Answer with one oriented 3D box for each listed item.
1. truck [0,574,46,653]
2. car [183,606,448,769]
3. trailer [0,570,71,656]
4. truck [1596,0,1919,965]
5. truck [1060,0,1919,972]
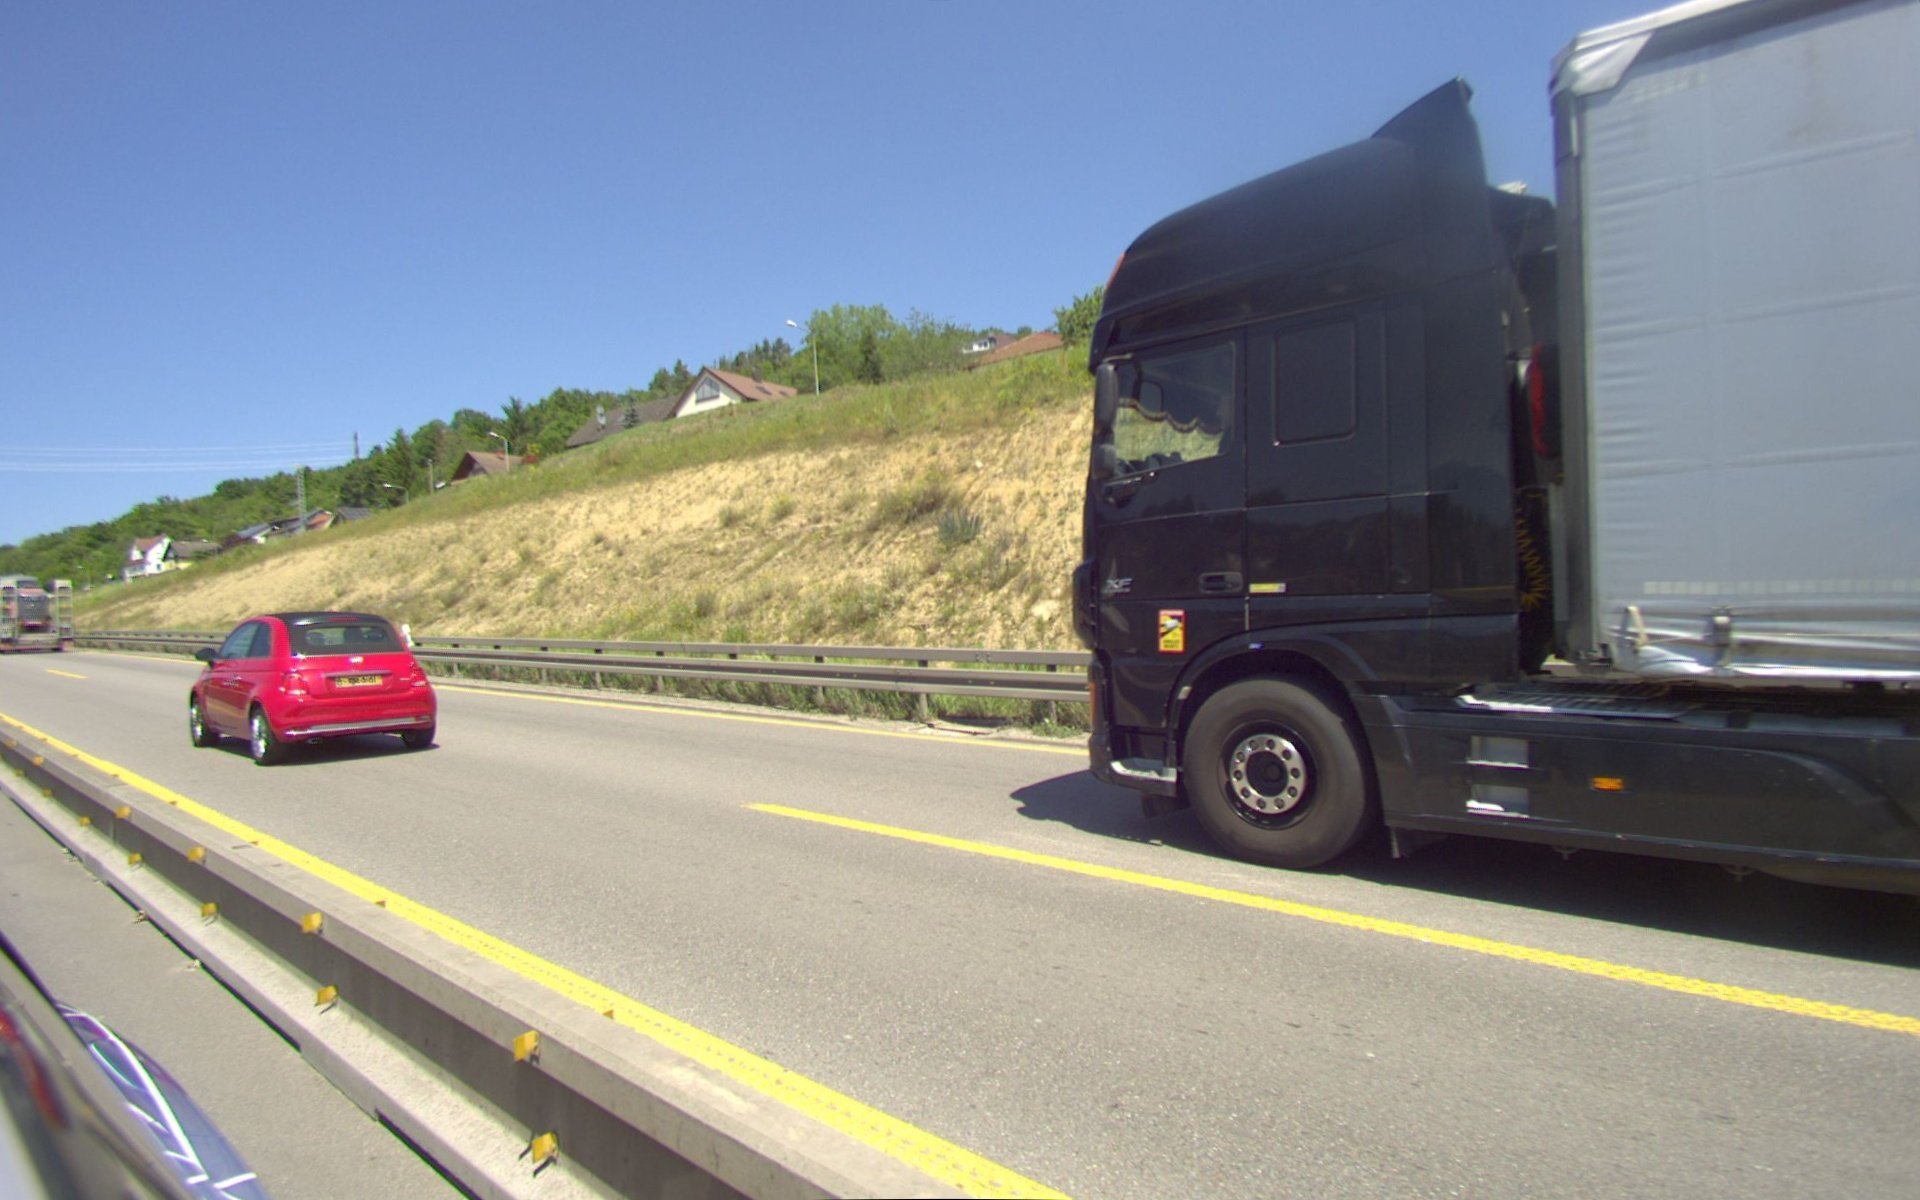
[{"bbox_3d":[-48.726,0.738,51.246,9.327,3.751,2.560,-2,-1,41],"label":"truck"},{"bbox_3d":[-7.093,0.842,11.041,3.293,1.498,1.574,-1,-1,41],"label":"car"},{"bbox_3d":[-43.442,0.631,46.614,9.073,3.664,2.560,-2,-1,41],"label":"trailer"},{"bbox_3d":[8.895,-0.825,0.912,13.798,4.118,2.739,-1,0,41],"label":"truck"},{"bbox_3d":[3.413,-0.573,5.673,4.961,3.913,2.739,-1,0,41],"label":"truck"}]
